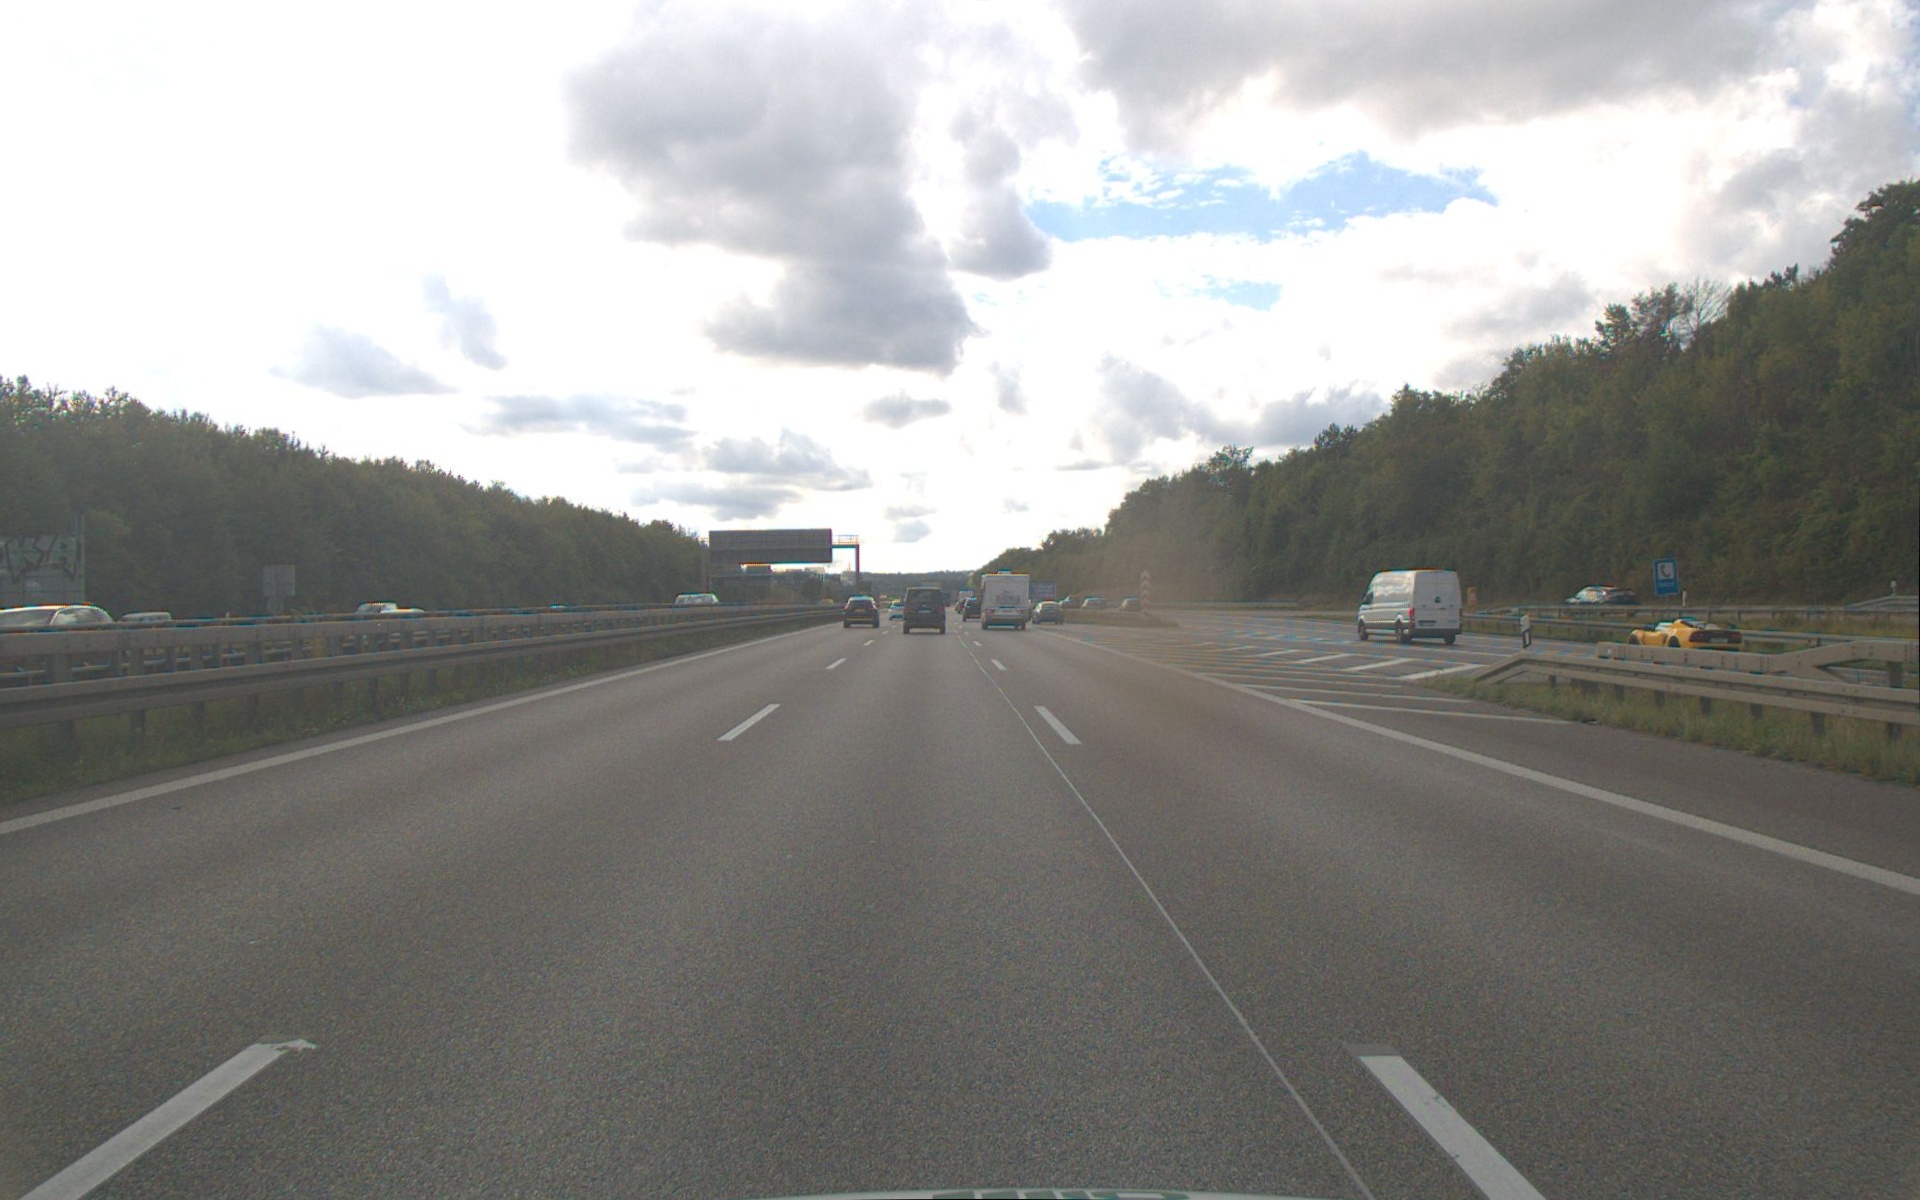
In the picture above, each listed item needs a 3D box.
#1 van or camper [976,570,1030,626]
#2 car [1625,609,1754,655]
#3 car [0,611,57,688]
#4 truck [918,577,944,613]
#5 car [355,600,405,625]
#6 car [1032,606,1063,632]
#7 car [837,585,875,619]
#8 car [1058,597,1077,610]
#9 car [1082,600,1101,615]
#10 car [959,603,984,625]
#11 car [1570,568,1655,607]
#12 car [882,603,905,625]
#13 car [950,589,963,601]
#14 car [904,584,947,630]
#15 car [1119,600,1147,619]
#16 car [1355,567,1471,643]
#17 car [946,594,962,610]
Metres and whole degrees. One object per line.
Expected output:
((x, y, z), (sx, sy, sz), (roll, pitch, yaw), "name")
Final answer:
((2.187, -0.087, 86.409), (2.419, 2.769, 7.659), (0, 0, -2), "van or camper")
((20.401, 0.880, 46.428), (1.677, 1.202, 4.167), (0, 0, -2), "car")
((-16.383, 0.812, 26.690), (1.493, 1.241, 4.113), (0, 0, -2), "car")
((-3.662, -0.563, 210.197), (3.196, 4.451, 11.024), (1, 0, 0), "truck")
((-39.053, 0.825, 111.427), (1.735, 1.604, 5.010), (-1, 0, -2), "car")
((5.673, 1.234, 107.984), (1.663, 1.639, 3.894), (0, 0, -2), "car")
((-5.519, 0.108, 88.000), (1.835, 1.728, 4.070), (0, 0, -2), "car")
((13.478, 0.435, 207.120), (1.806, 1.510, 4.523), (-2, 0, -3), "car")
((13.595, 0.762, 171.458), (1.510, 1.510, 3.941), (-2, 0, -1), "car")
((0.841, 1.000, 120.596), (1.663, 1.592, 4.112), (0, 0, -2), "car")
((29.978, -0.554, 76.119), (1.806, 1.630, 4.762), (-2, 0, -2), "car")
((-4.925, 1.021, 123.154), (1.663, 1.639, 4.112), (0, 0, -2), "car")
((-0.529, -0.765, 248.812), (1.716, 1.725, 4.189), (0, 0, -2), "car")
((-1.528, 0.294, 72.870), (1.817, 1.944, 4.258), (0, 0, -2), "car")
((14.529, 0.796, 139.124), (1.806, 1.510, 4.524), (-2, 0, -1), "car")
((16.593, 0.176, 60.966), (2.029, 2.599, 6.738), (-1, 0, -3), "car")
((-0.724, 0.239, 198.163), (1.874, 1.952, 4.029), (0, 0, -2), "car")
